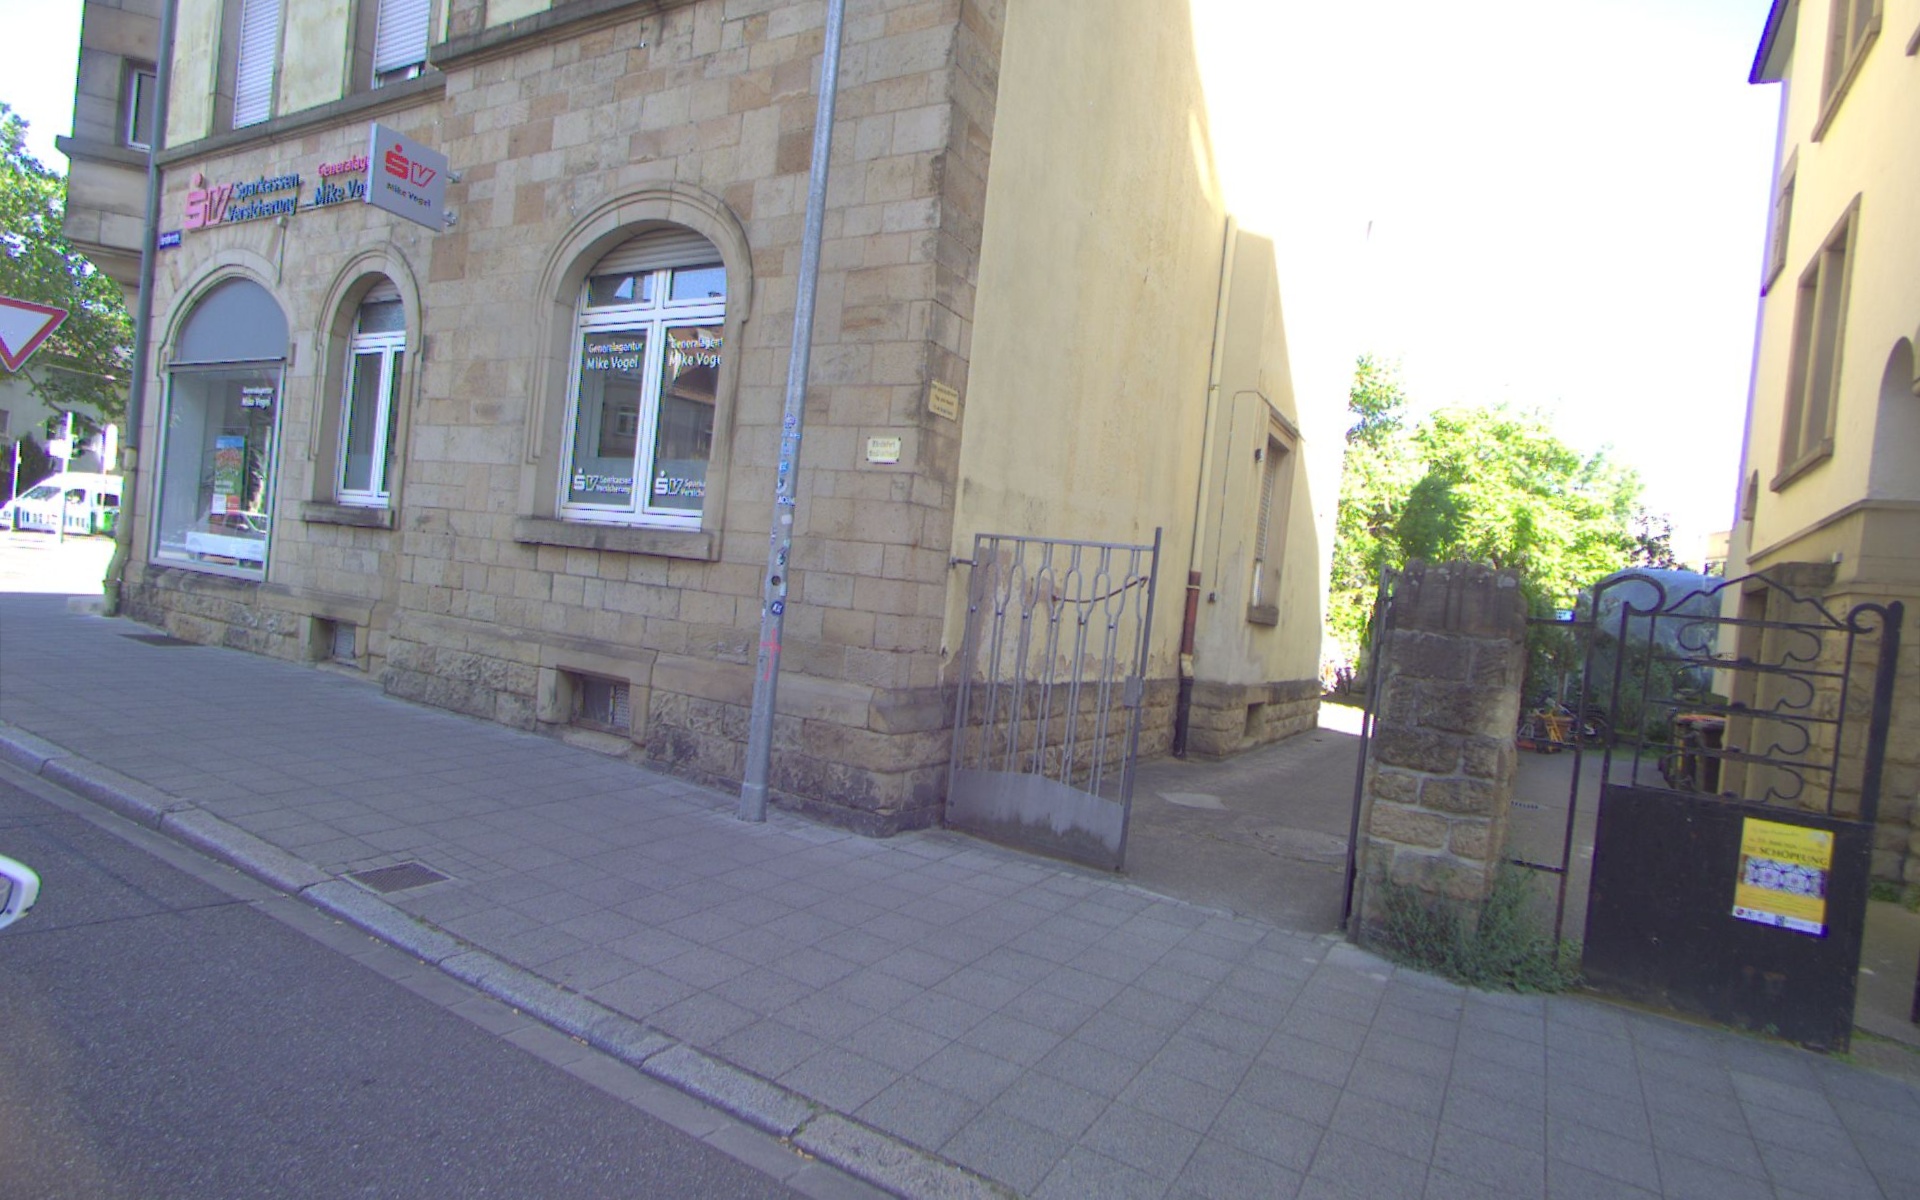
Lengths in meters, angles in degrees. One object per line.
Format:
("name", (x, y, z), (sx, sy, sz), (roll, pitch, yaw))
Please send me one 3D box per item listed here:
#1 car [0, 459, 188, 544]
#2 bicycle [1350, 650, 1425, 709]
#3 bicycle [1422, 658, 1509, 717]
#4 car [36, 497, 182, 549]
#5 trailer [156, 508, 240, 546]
("car", (-35.036, -3.874, 40.639), (1.962, 2.600, 6.061), (7, 0, 14))
("bicycle", (10.613, 1.949, 25.090), (0.860, 1.180, 2.659), (6, 0, 6))
("bicycle", (12.301, 2.107, 24.620), (0.855, 1.124, 2.864), (6, 0, 7))
("car", (-32.764, -2.915, 38.866), (1.627, 1.469, 4.000), (7, 0, 15))
("trailer", (-34.011, -3.248, 44.961), (1.246, 1.328, 2.749), (7, 0, 13))
